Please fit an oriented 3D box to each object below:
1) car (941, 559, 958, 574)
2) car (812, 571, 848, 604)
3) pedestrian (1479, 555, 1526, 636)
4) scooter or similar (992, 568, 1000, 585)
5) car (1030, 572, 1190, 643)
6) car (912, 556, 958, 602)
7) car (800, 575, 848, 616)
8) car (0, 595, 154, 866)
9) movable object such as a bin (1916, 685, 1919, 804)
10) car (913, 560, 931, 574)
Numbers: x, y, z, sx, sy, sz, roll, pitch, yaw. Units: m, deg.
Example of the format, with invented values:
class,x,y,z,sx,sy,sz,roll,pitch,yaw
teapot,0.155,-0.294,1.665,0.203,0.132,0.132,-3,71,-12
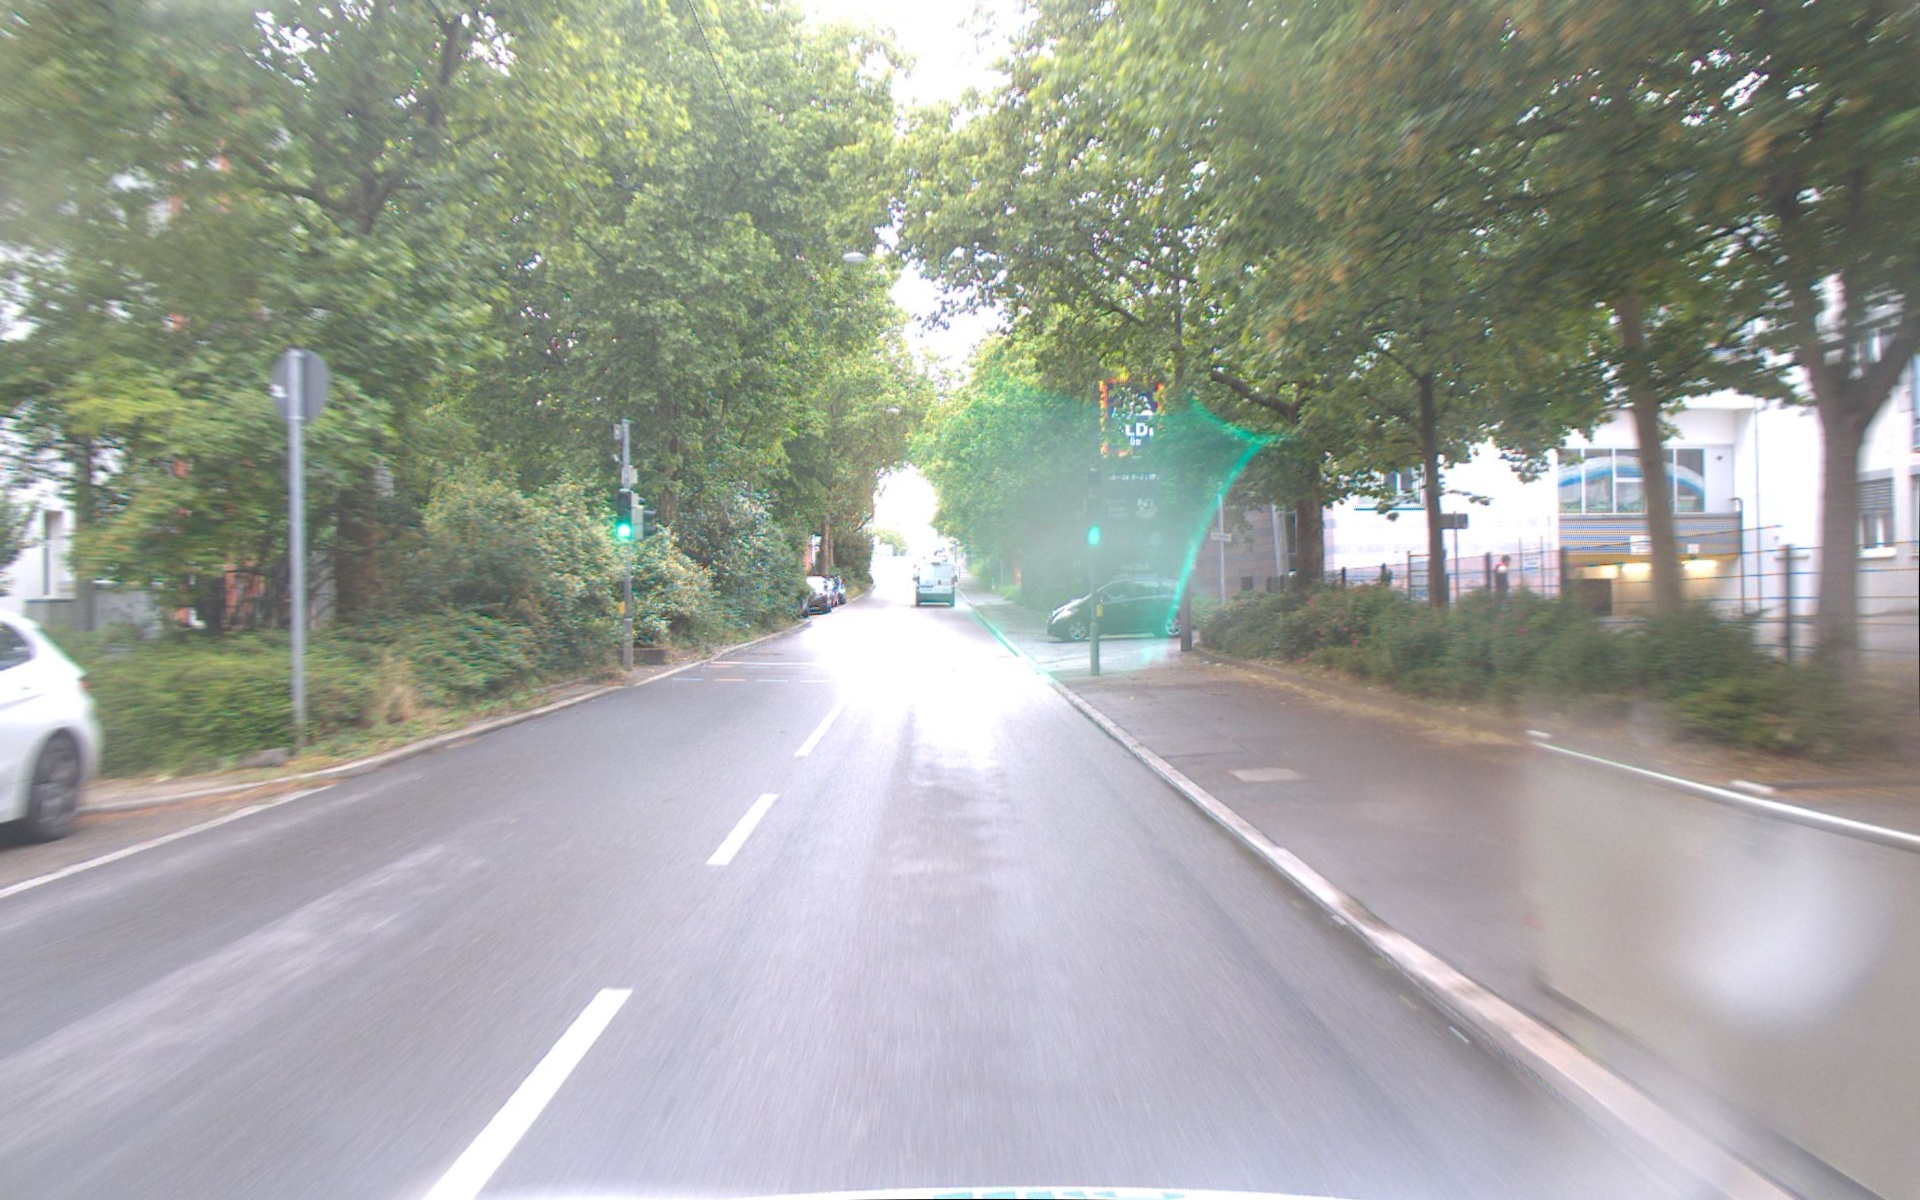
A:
class,x,y,z,sx,sy,sz,roll,pitch,yaw
car,-1.387,-4.434,217.803,1.890,1.739,3.874,1,-1,3
car,-6.860,-0.684,87.460,1.615,1.564,4.017,-4,1,-2
pedestrian,12.641,-0.102,38.581,0.812,1.860,0.960,0,0,3
scooter or similar,2.439,-1.595,112.342,0.417,1.162,1.528,1,-1,-3
car,3.870,0.173,43.087,3.776,1.574,2.023,-3,1,-7
car,-1.279,-1.043,85.738,2.288,2.270,4.000,-1,0,0
car,-5.806,-0.211,71.014,1.827,1.619,4.238,-3,1,-2
car,-6.143,0.723,8.724,1.681,1.493,4.309,0,0,0
movable object such as a bin,4.552,0.840,7.060,0.578,0.949,0.572,-2,0,-2
car,-5.110,-4.467,222.110,2.114,1.739,3.874,1,-1,3
